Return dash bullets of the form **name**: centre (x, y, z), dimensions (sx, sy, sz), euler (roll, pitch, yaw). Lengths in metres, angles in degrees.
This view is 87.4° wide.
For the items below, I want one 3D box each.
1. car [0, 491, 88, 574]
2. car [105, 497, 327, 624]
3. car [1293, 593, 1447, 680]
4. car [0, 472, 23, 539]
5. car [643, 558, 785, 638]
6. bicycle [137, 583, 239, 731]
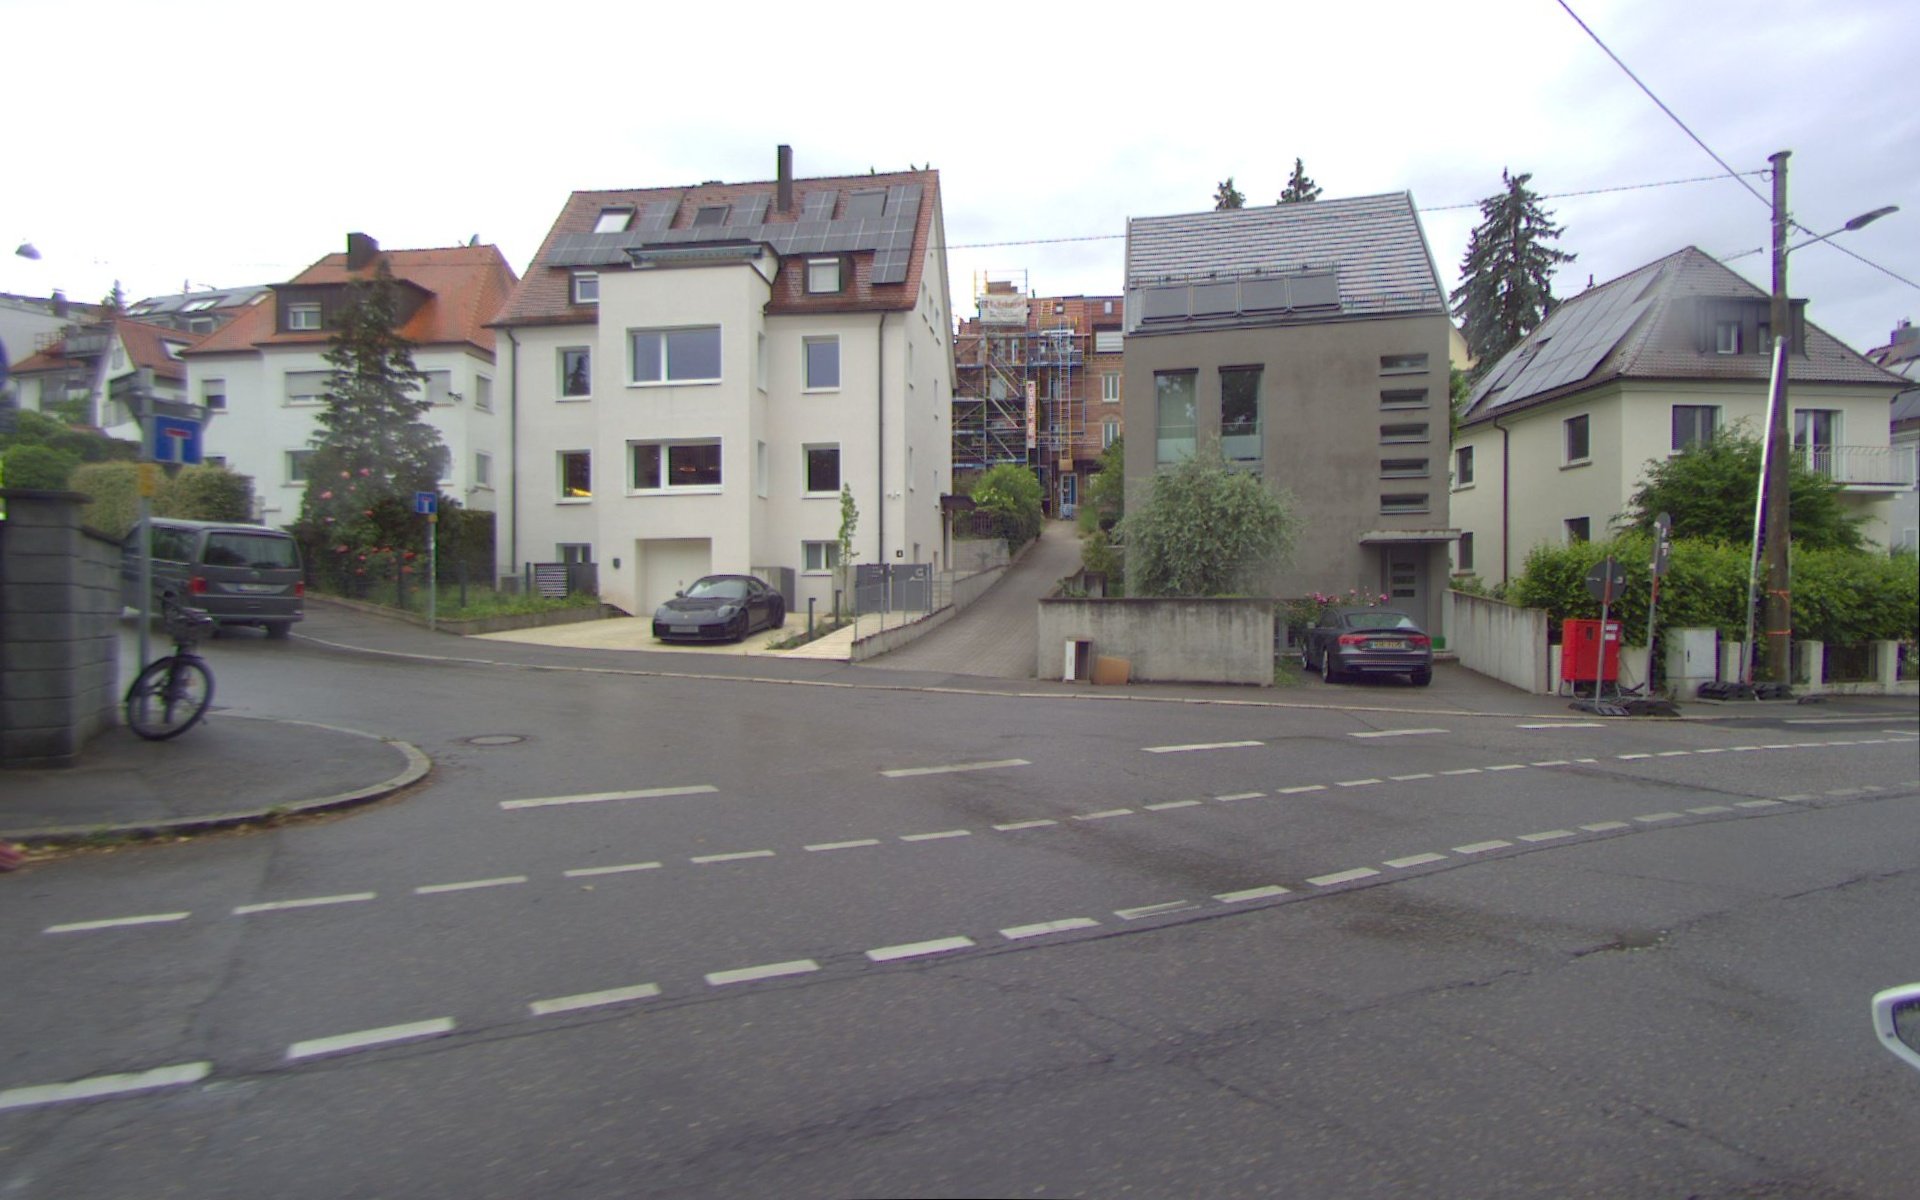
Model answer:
- **car**: centre (-23.393, -1.750, 24.657), dimensions (3.931, 1.768, 1.865), euler (7, 2, 32)
- **car**: centre (-14.072, -0.756, 18.969), dimensions (3.931, 1.945, 1.996), euler (7, 2, 32)
- **car**: centre (7.748, 0.625, 19.393), dimensions (1.802, 1.463, 4.002), euler (1, 0, 8)
- **car**: centre (-27.740, -2.783, 27.641), dimensions (3.931, 1.768, 1.865), euler (7, 2, 32)
- **car**: centre (-5.240, -0.045, 21.911), dimensions (1.700, 1.528, 3.821), euler (2, 0, 8)
- **bicycle**: centre (-6.710, 0.458, 8.785), dimensions (0.458, 1.139, 1.506), euler (4, 1, -30)
